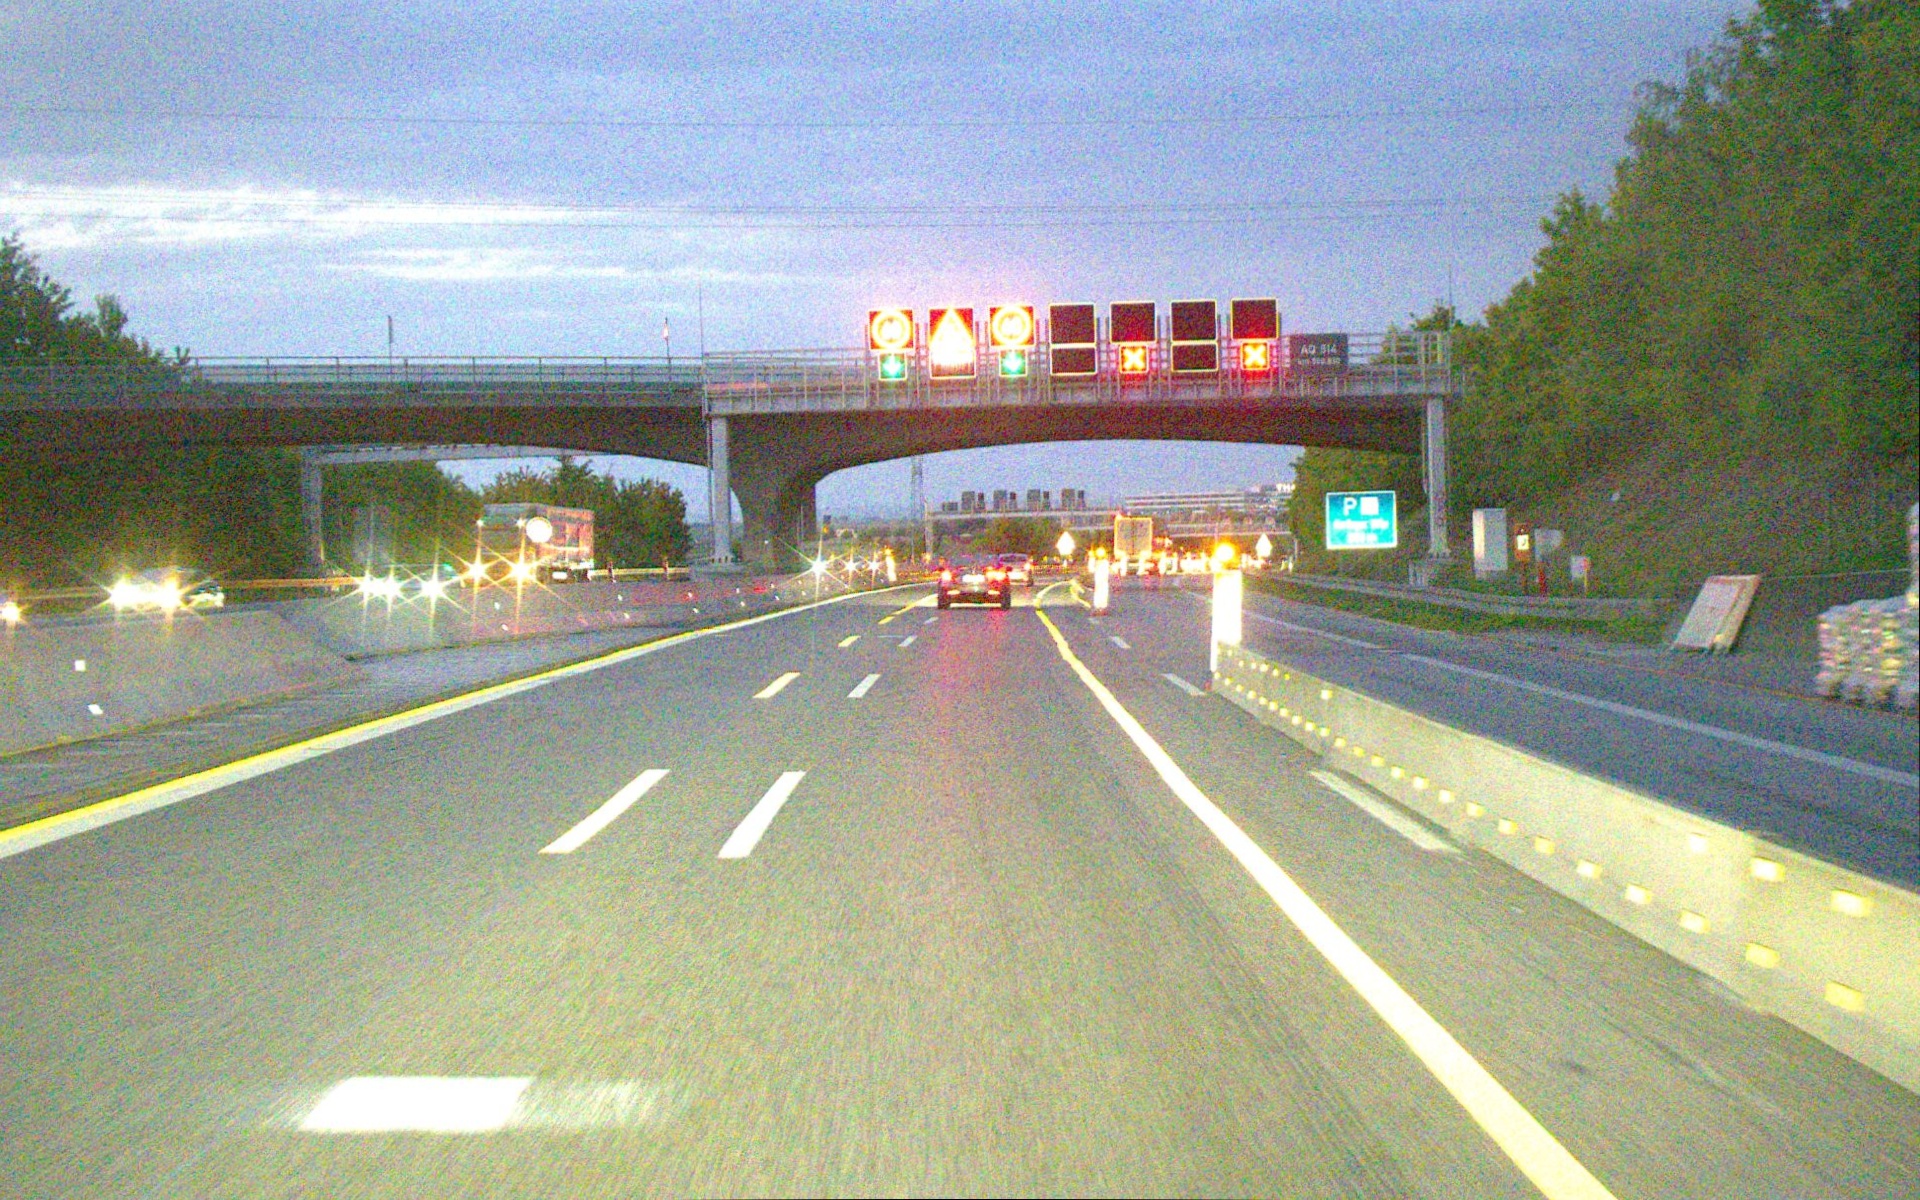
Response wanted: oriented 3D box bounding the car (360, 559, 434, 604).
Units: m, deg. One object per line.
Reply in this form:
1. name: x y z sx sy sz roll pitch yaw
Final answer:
1. car: -20.598 -0.688 125.883 1.591 1.598 5.033 1 1 3

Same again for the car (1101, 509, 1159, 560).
1. car: 11.722 -4.467 237.261 3.605 3.384 8.014 1 1 0

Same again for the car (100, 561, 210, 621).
1. car: -22.683 -0.276 97.000 1.736 1.632 5.170 1 1 1

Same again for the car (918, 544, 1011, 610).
1. car: 0.095 -0.593 88.532 2.265 1.616 4.000 1 1 -1

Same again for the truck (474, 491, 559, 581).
1. truck: -21.078 -3.009 163.688 2.777 4.157 6.385 1 1 3

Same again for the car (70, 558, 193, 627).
1. car: -20.811 -0.209 86.561 1.804 1.632 4.751 1 1 1

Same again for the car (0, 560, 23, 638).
1. car: -20.946 -0.031 71.172 1.679 1.632 4.751 1 1 1

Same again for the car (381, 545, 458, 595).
1. car: -18.413 -1.032 117.292 1.736 1.632 4.891 1 1 1

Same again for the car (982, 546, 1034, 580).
1. car: 2.096 -1.599 149.477 1.972 1.432 3.999 1 1 4
